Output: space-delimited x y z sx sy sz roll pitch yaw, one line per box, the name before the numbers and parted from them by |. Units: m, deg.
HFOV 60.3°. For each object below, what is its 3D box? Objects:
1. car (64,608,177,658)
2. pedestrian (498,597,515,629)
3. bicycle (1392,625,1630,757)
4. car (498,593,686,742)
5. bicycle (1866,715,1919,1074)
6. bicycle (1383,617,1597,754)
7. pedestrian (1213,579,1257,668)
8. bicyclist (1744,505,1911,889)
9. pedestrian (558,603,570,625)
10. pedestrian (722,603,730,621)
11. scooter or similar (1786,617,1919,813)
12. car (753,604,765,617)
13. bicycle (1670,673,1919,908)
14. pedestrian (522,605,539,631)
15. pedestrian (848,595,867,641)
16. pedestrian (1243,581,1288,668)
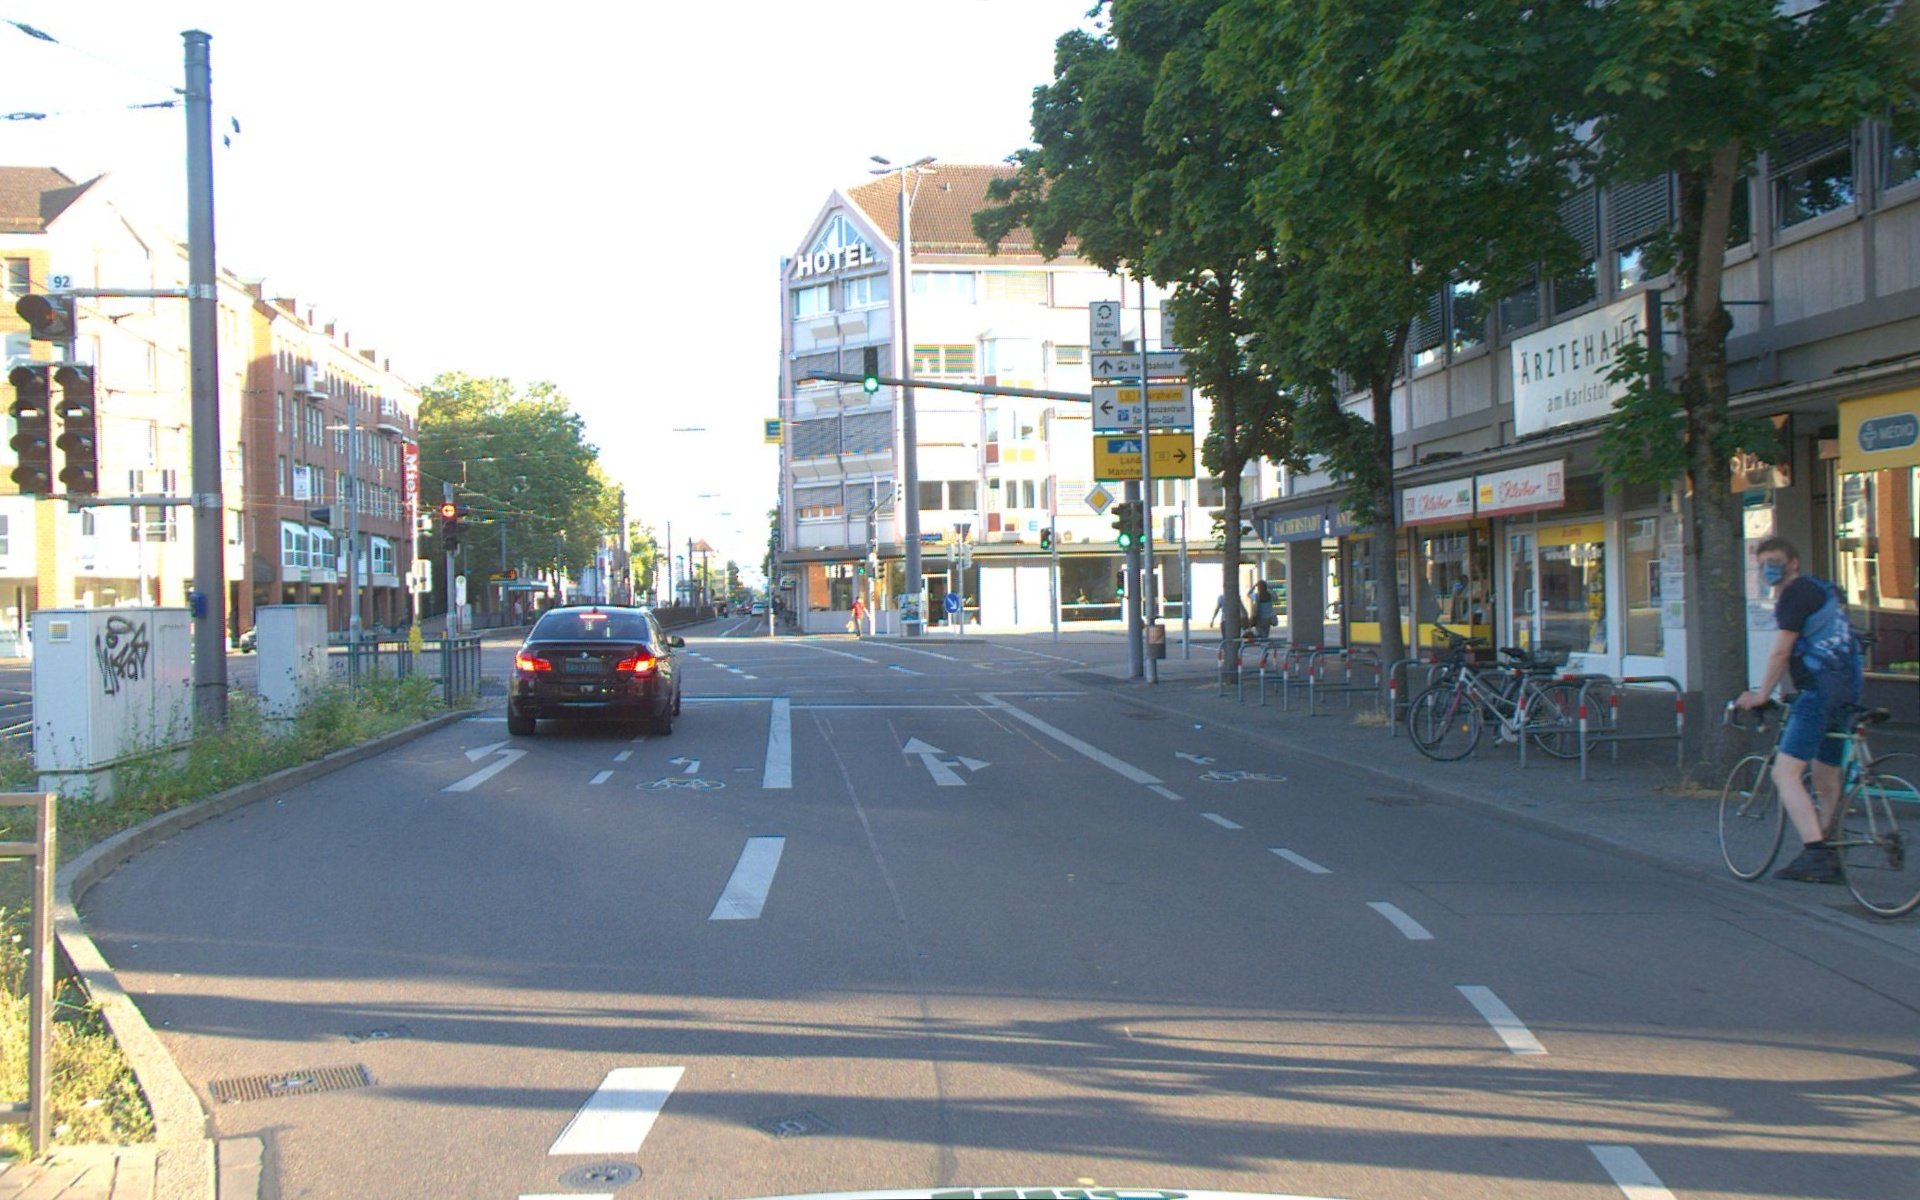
car | -27.032 1.023 53.411 1.636 1.473 4.199 -2 0 -3
pedestrian | -29.036 0.828 105.935 0.969 2.049 0.724 0 0 -8
bicycle | 5.042 0.828 15.235 1.954 1.130 0.668 -2 0 6
car | -4.362 0.743 20.149 1.957 1.613 3.992 1 0 -9
bicycle | 3.798 0.887 4.637 0.834 1.038 2.044 -2 0 -44
bicycle | 5.166 0.827 16.209 1.864 1.257 0.668 -2 0 4
pedestrian | 5.347 0.452 32.228 0.671 1.696 0.670 -2 0 -4
bicyclist | 4.377 0.468 8.364 0.457 1.862 0.557 -2 0 -15
pedestrian | -31.406 1.086 131.078 0.709 1.710 0.990 -2 0 -5
pedestrian | -27.485 1.378 194.389 0.897 2.049 0.885 -2 0 -8
scooter or similar | 6.179 0.748 10.908 1.252 1.256 0.337 -1 0 35
car | -25.265 1.281 208.149 1.445 1.541 3.090 -2 0 -8
bicycle | 4.394 0.909 8.356 0.457 0.987 1.793 -2 0 -15
pedestrian | -28.915 1.226 111.259 0.969 1.710 0.724 -2 0 -8
pedestrian | -4.263 0.746 69.079 0.672 1.886 0.669 -1 0 -11
pedestrian | 6.052 0.483 32.786 0.709 1.696 0.670 -2 0 -4
